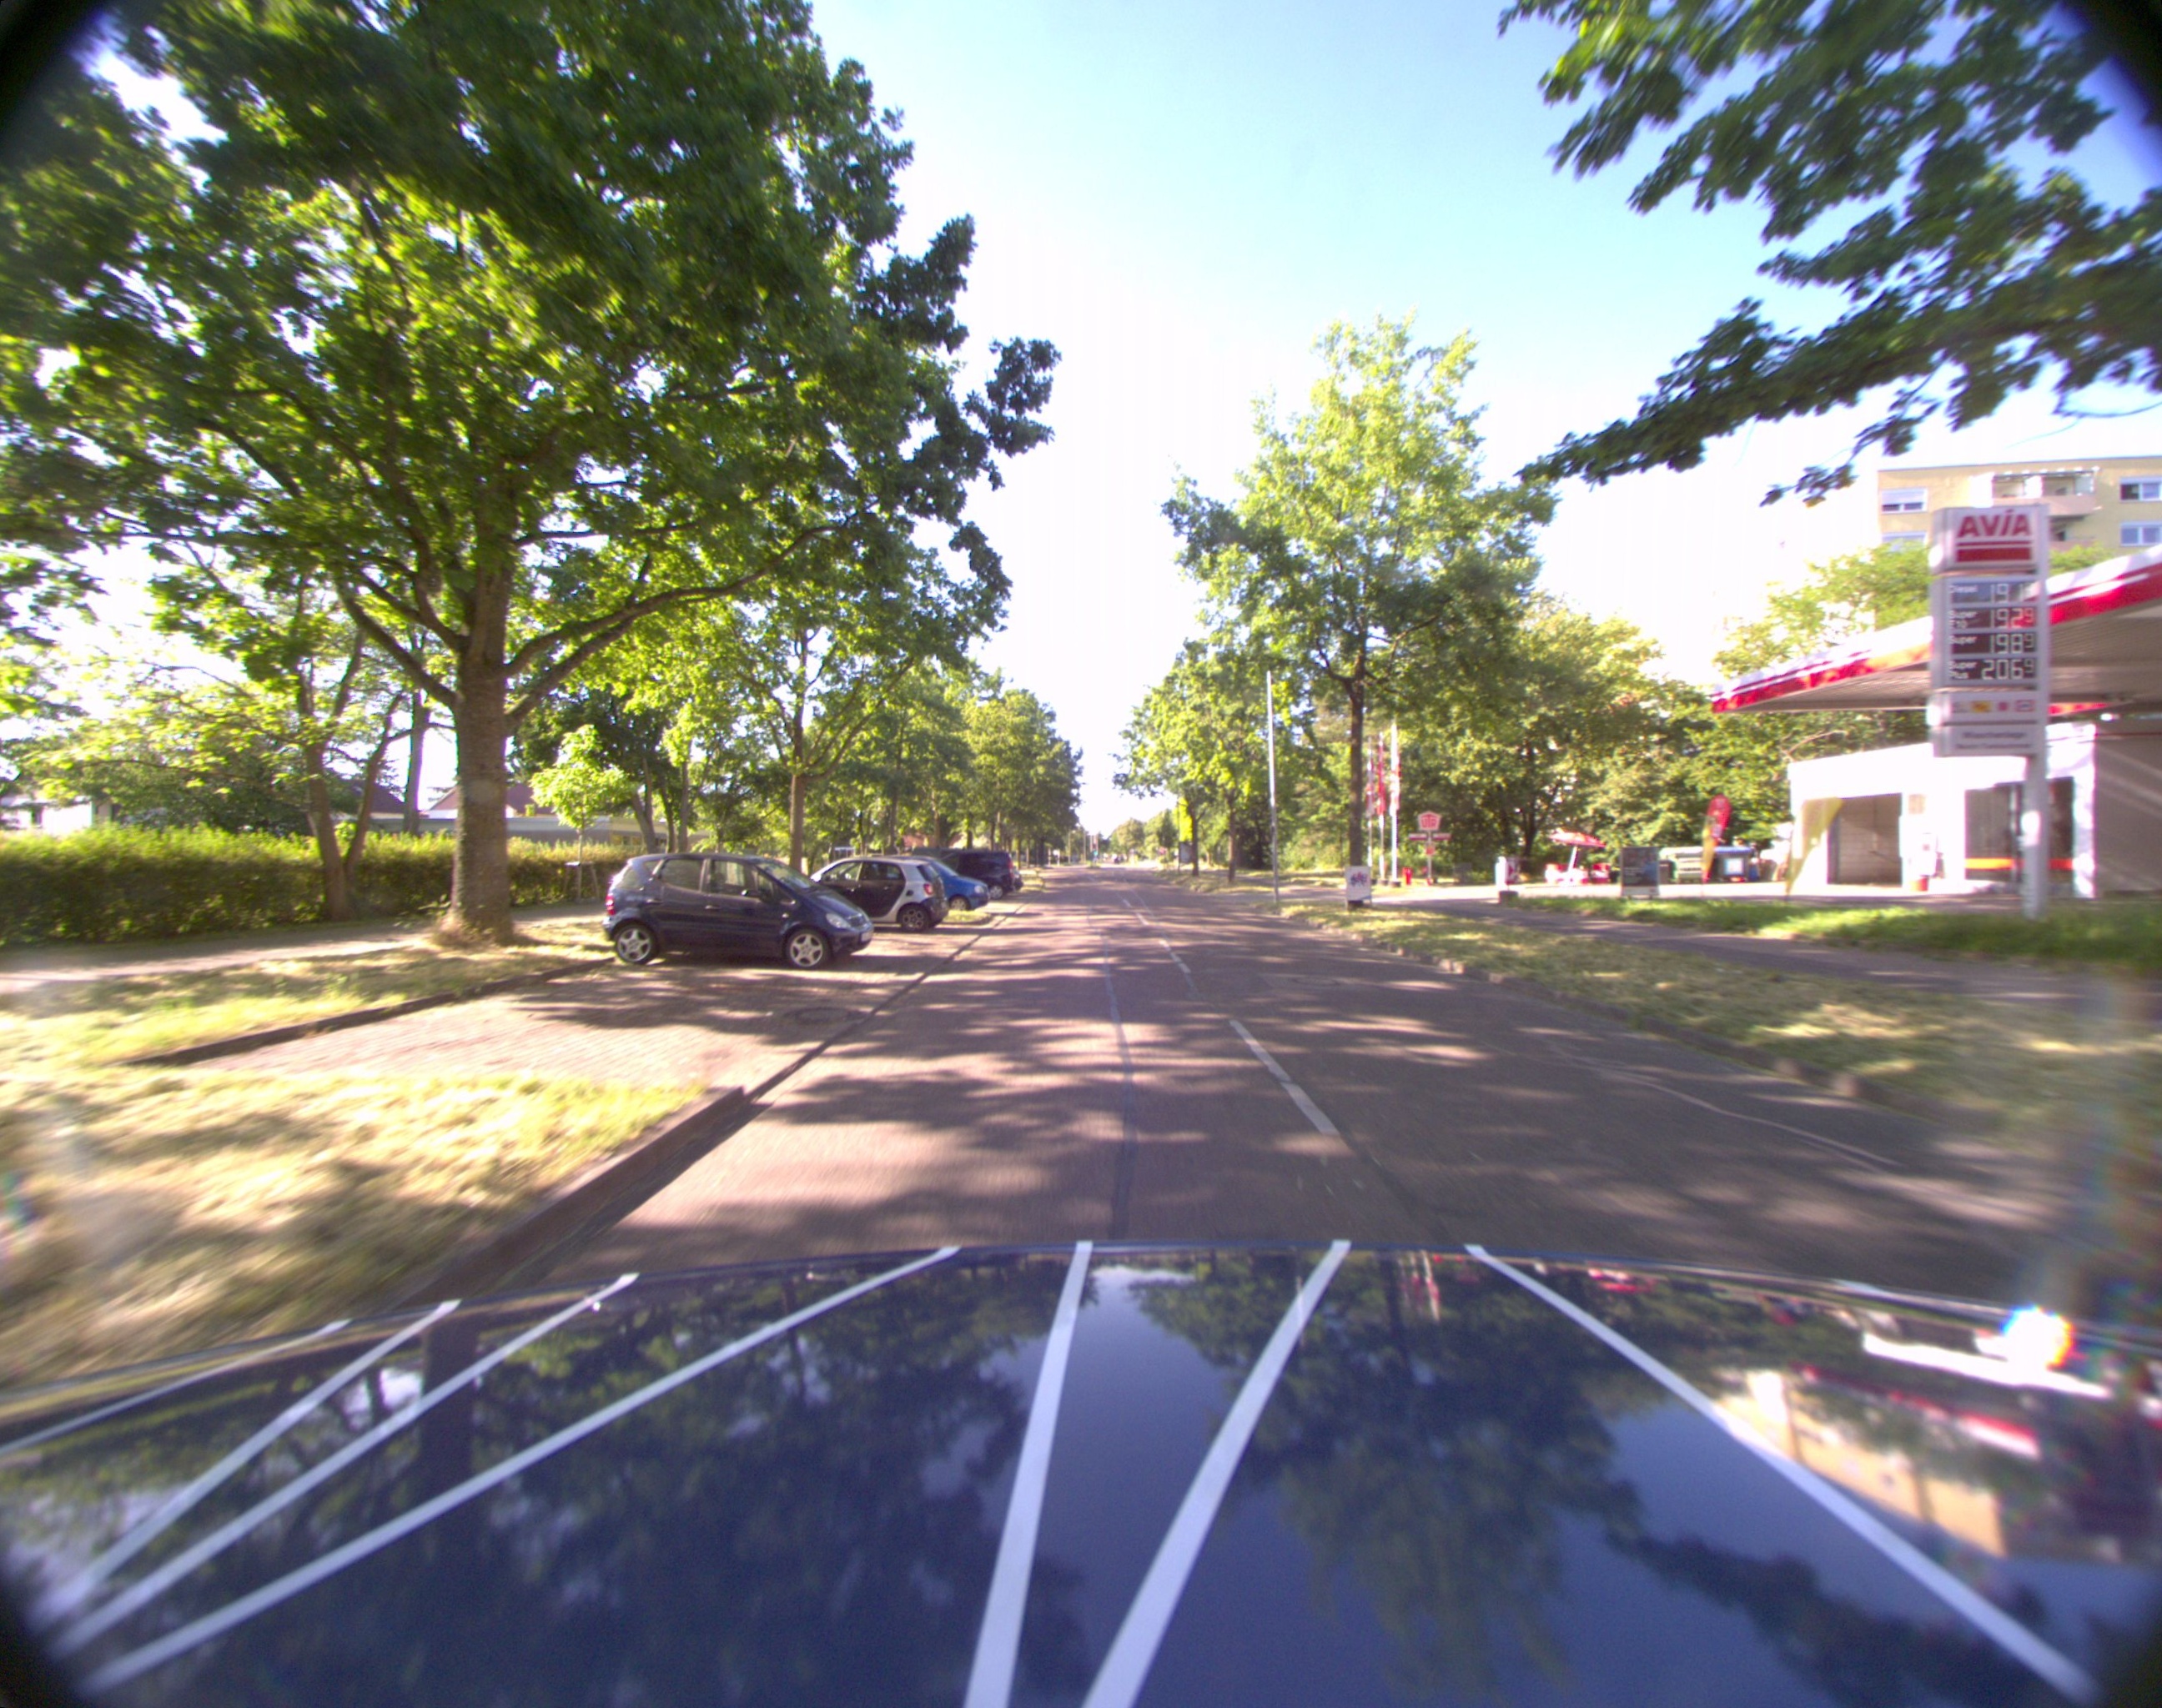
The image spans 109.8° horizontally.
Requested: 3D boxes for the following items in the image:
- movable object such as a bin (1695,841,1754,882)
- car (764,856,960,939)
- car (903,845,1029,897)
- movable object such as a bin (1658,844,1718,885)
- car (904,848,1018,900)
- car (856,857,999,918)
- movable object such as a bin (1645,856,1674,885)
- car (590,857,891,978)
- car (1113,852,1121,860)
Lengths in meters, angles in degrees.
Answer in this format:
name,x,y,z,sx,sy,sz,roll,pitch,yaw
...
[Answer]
name,x,y,z,sx,sy,sz,roll,pitch,yaw
movable object such as a bin,24.912,0.289,29.447,1.307,1.533,1.164,-2,0,1
car,-4.557,0.875,16.185,3.592,1.567,1.786,1,0,2
car,-4.616,0.659,31.070,4.815,2.020,1.944,1,0,0
movable object such as a bin,23.561,0.407,29.534,1.307,1.533,1.268,0,0,1
car,-4.440,0.718,28.545,4.020,1.826,1.799,1,1,-2
car,-4.130,0.872,20.856,3.529,1.523,1.665,1,0,2
movable object such as a bin,22.569,0.634,29.646,0.570,1.079,0.768,0,0,1
car,-4.862,0.867,11.253,3.592,1.567,1.857,1,0,0
car,9.363,0.476,195.579,1.904,2.082,3.641,2,0,1
